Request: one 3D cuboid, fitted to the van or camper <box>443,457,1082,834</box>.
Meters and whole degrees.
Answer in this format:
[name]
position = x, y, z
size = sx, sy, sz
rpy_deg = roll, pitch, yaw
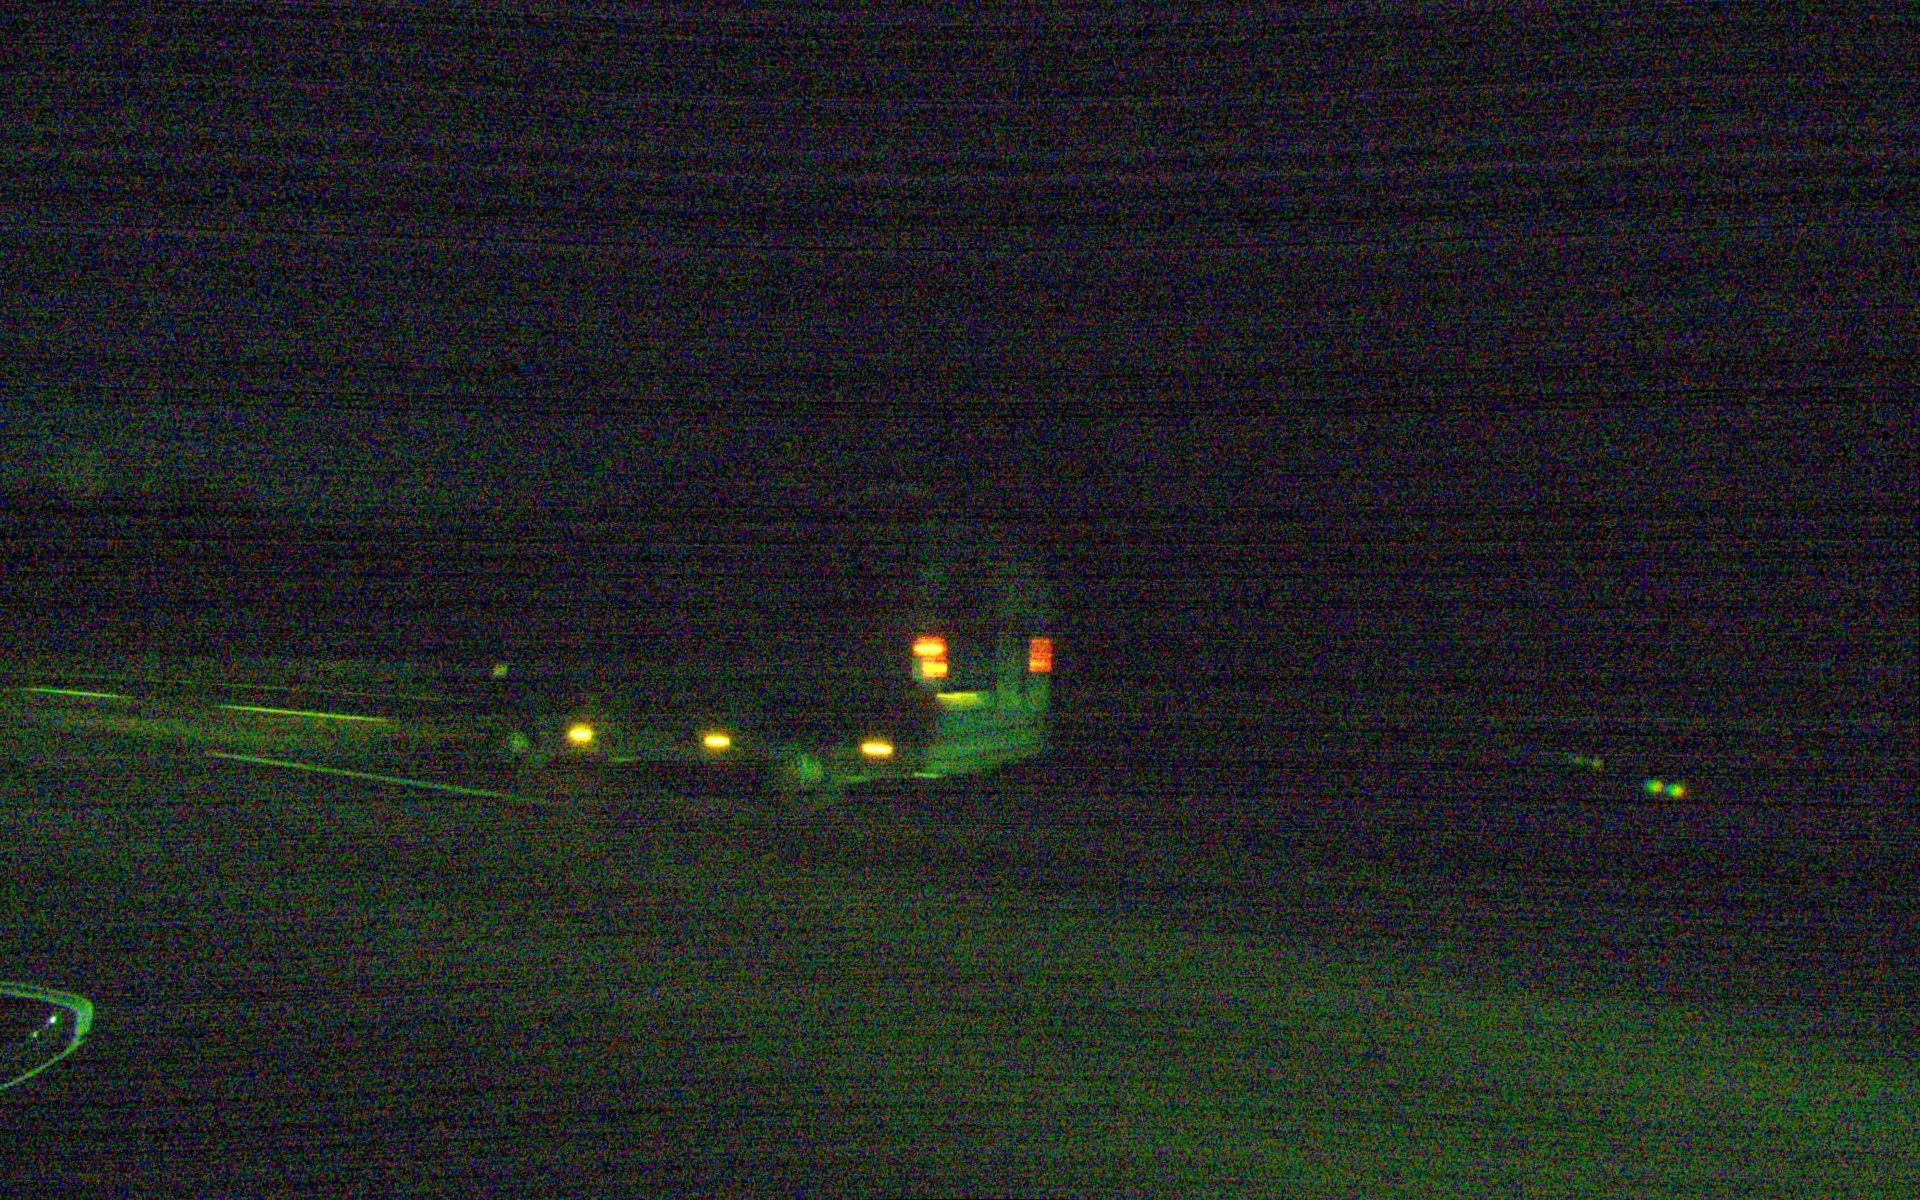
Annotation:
[van or camper]
position = -2.276, 0.403, 10.196
size = 6.707, 2.807, 2.203
rpy_deg = -1, -2, 32
